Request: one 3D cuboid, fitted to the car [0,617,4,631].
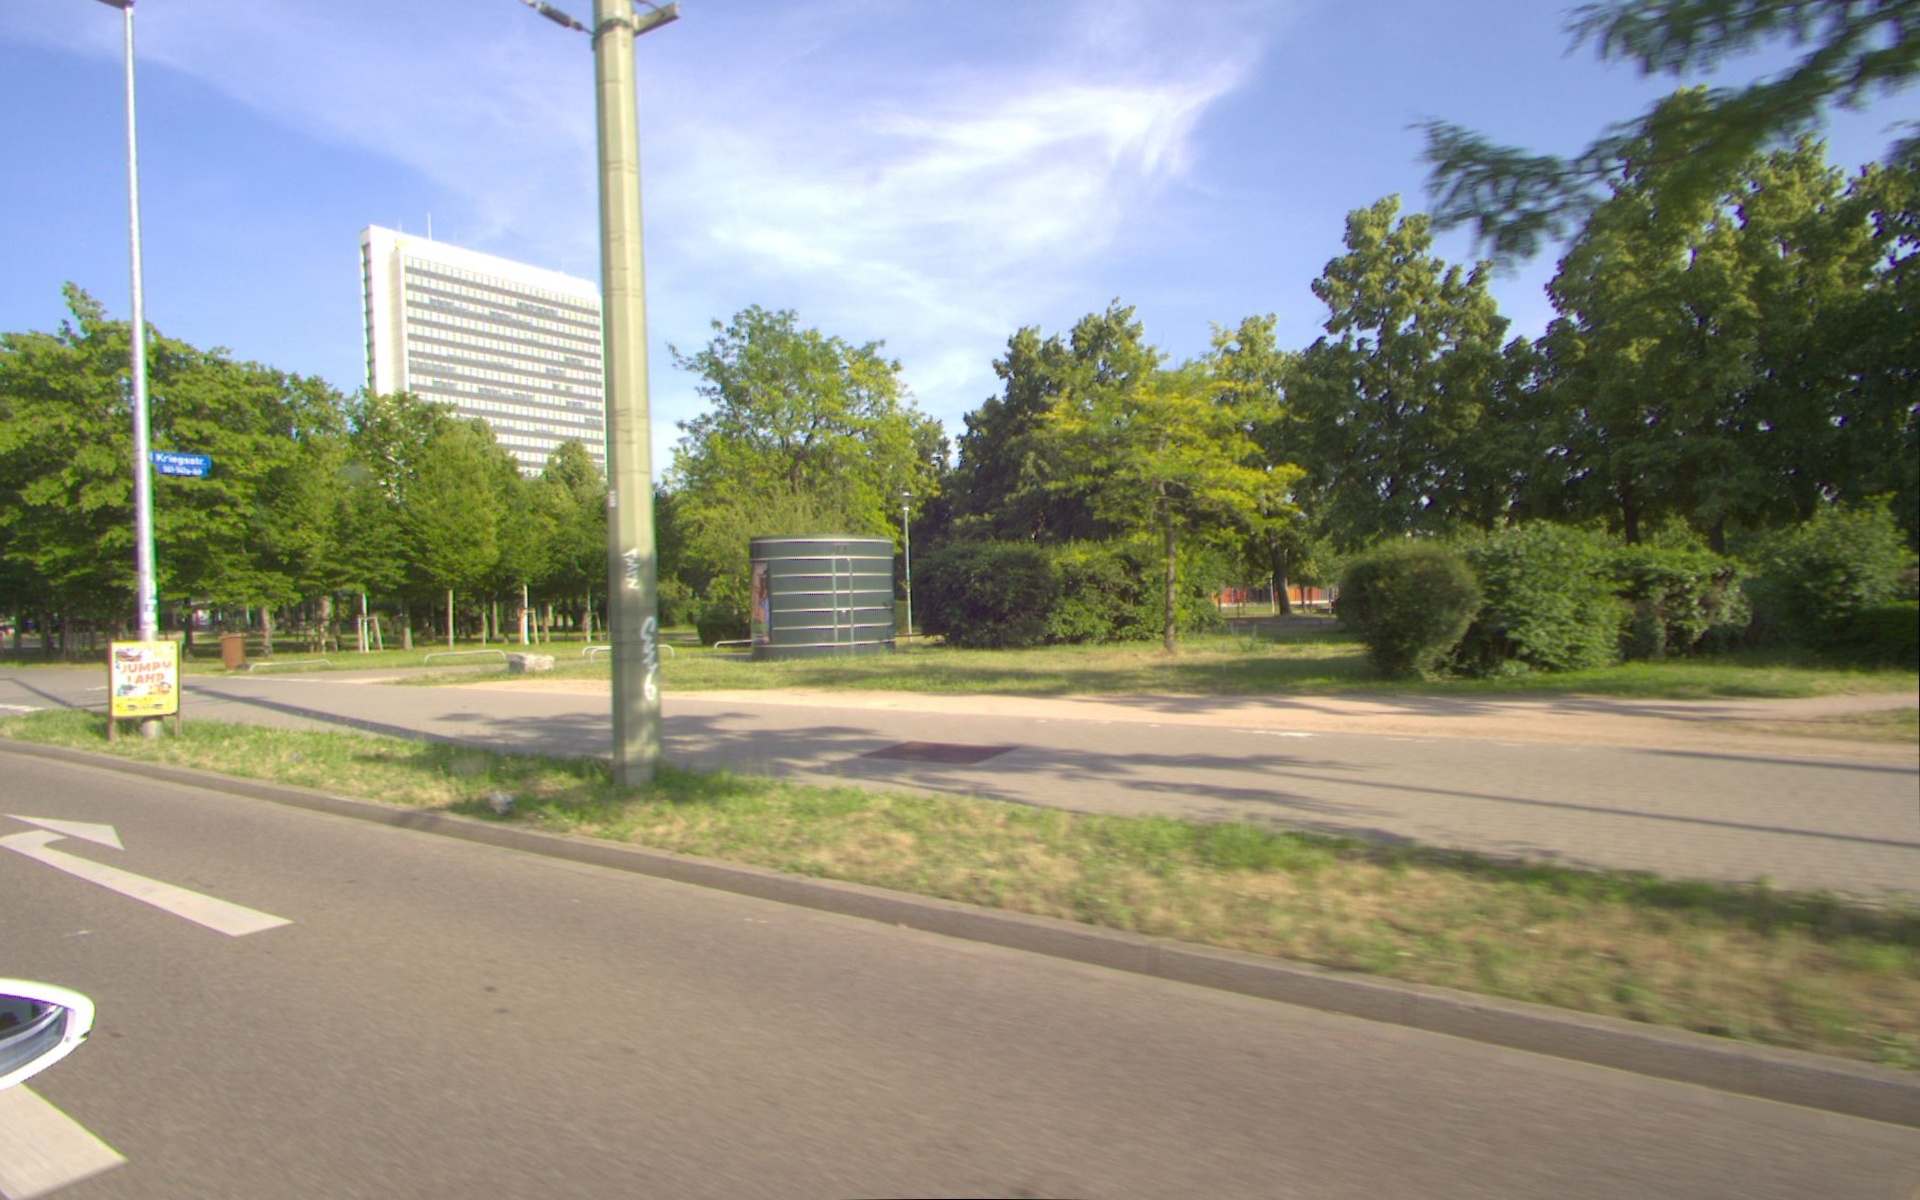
[{"bbox_3d":[-112.104,2.783,114.215,1.961,1.673,3.999,-1,0,6],"label":"car"}]
